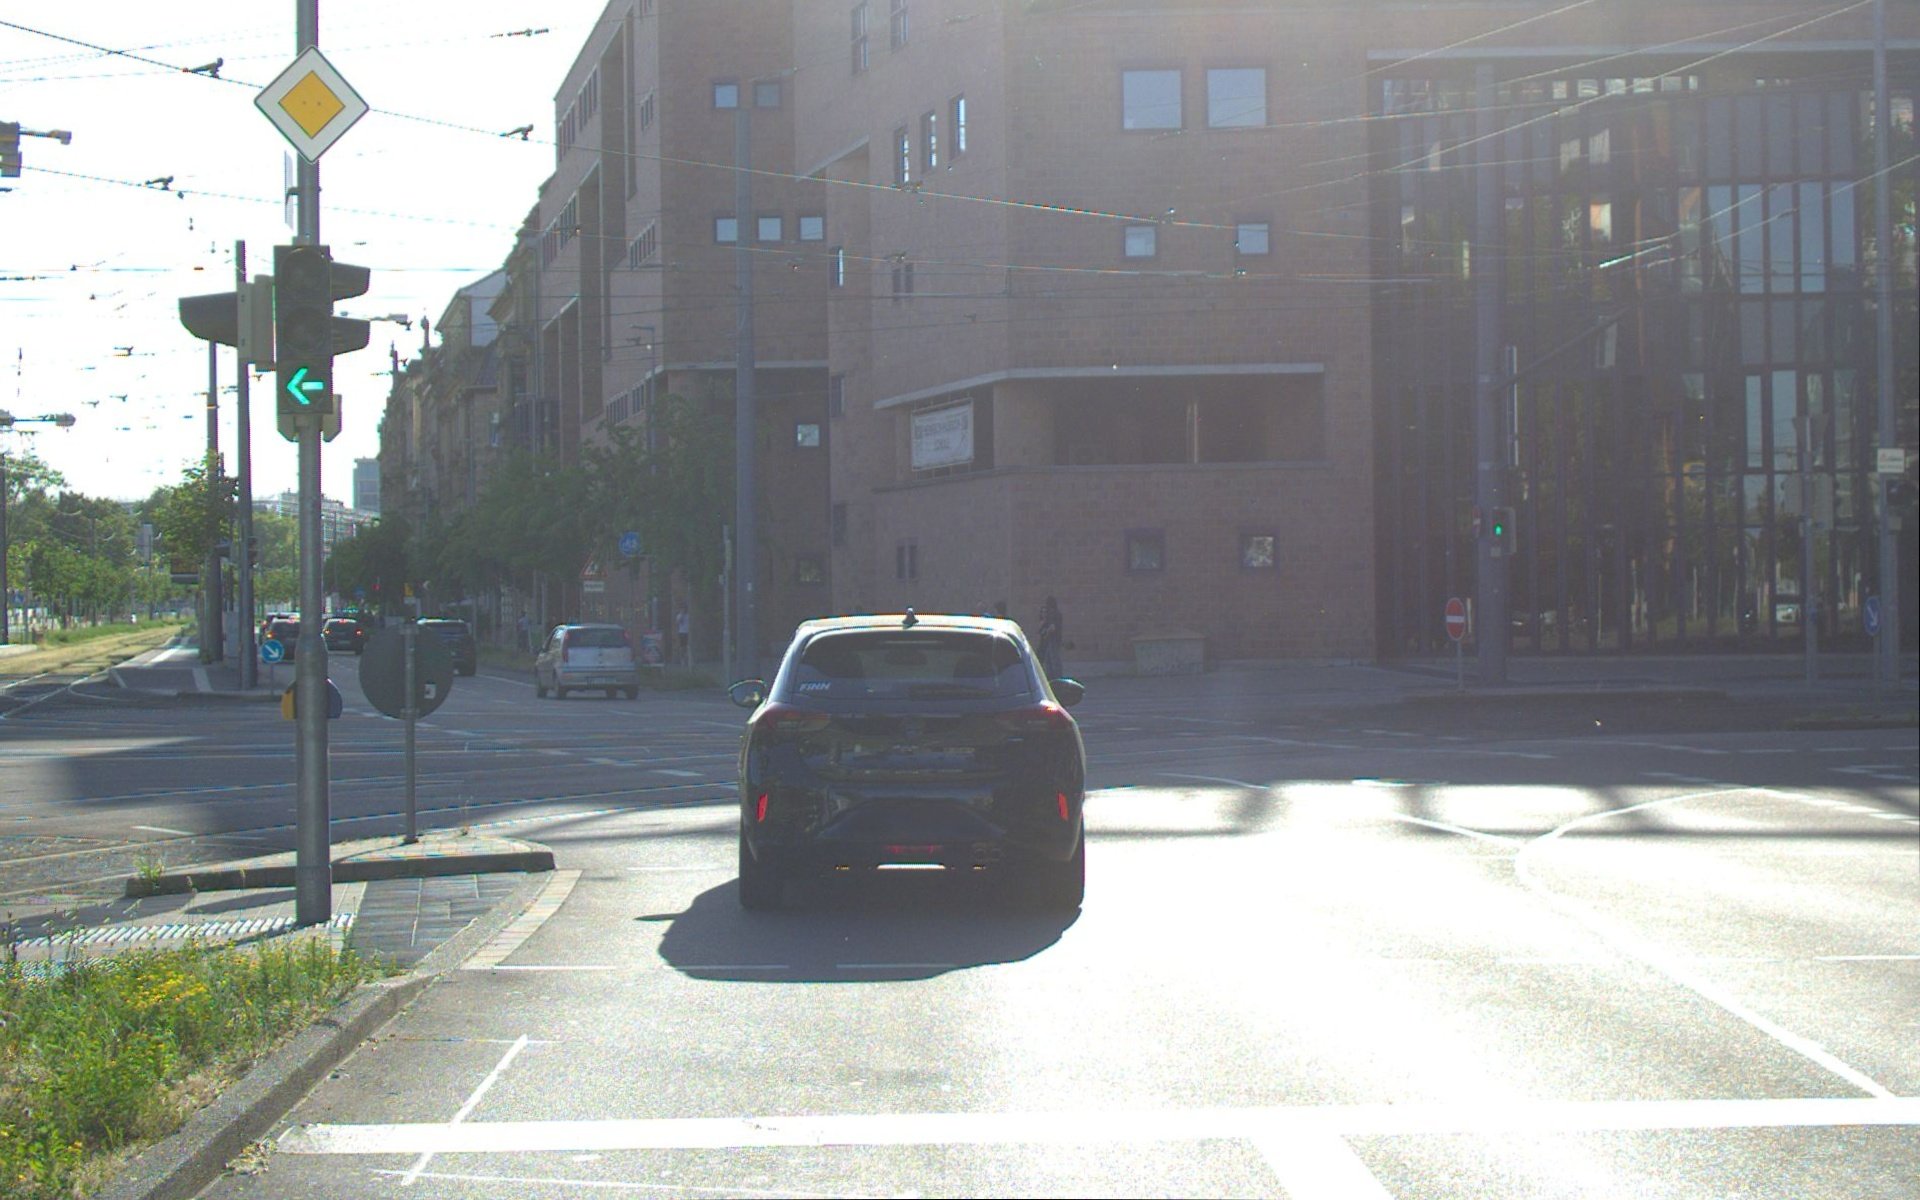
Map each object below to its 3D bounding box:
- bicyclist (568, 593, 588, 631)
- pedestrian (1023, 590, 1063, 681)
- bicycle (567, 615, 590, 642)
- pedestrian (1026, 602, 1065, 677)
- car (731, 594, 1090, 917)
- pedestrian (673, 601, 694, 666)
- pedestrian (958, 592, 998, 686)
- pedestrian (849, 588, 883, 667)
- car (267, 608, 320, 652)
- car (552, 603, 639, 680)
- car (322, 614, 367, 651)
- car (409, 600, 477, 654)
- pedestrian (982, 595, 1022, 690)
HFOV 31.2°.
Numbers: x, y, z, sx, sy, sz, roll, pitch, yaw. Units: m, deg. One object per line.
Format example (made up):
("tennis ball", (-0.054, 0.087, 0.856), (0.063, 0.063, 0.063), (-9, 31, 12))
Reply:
("bicyclist", (-13.373, 0.414, 120.237), (0.645, 1.335, 0.653), (-1, 0, -10))
("pedestrian", (1.625, 0.694, 67.536), (0.571, 1.780, 0.549), (-2, 0, -19))
("bicycle", (-13.350, 0.996, 120.223), (0.648, 0.901, 2.346), (-1, 0, -10))
("pedestrian", (1.704, 0.793, 68.644), (0.547, 1.472, 0.573), (-1, 1, -29))
("car", (-0.246, 0.727, 17.974), (1.672, 1.496, 3.690), (1, 0, 0))
("pedestrian", (-7.752, 0.928, 96.358), (0.547, 1.780, 0.573), (-1, 3, -8))
("pedestrian", (0.338, 0.753, 66.274), (0.571, 1.780, 0.549), (-2, 0, -19))
("pedestrian", (-2.151, 0.628, 78.392), (0.640, 1.780, 0.688), (-2, 0, -8))
("car", (-22.808, 1.021, 117.645), (1.720, 1.448, 3.698), (-2, 0, -11))
("car", (-7.184, 0.798, 67.493), (1.559, 1.451, 3.432), (-1, 0, -8))
("car", (-25.417, 1.338, 141.845), (1.720, 1.448, 3.698), (-2, 0, -11))
("car", (-14.507, 0.744, 96.373), (1.670, 1.448, 3.698), (-2, 0, -11))
("pedestrian", (0.802, 0.808, 65.616), (0.571, 1.780, 0.549), (-2, 0, -19))
